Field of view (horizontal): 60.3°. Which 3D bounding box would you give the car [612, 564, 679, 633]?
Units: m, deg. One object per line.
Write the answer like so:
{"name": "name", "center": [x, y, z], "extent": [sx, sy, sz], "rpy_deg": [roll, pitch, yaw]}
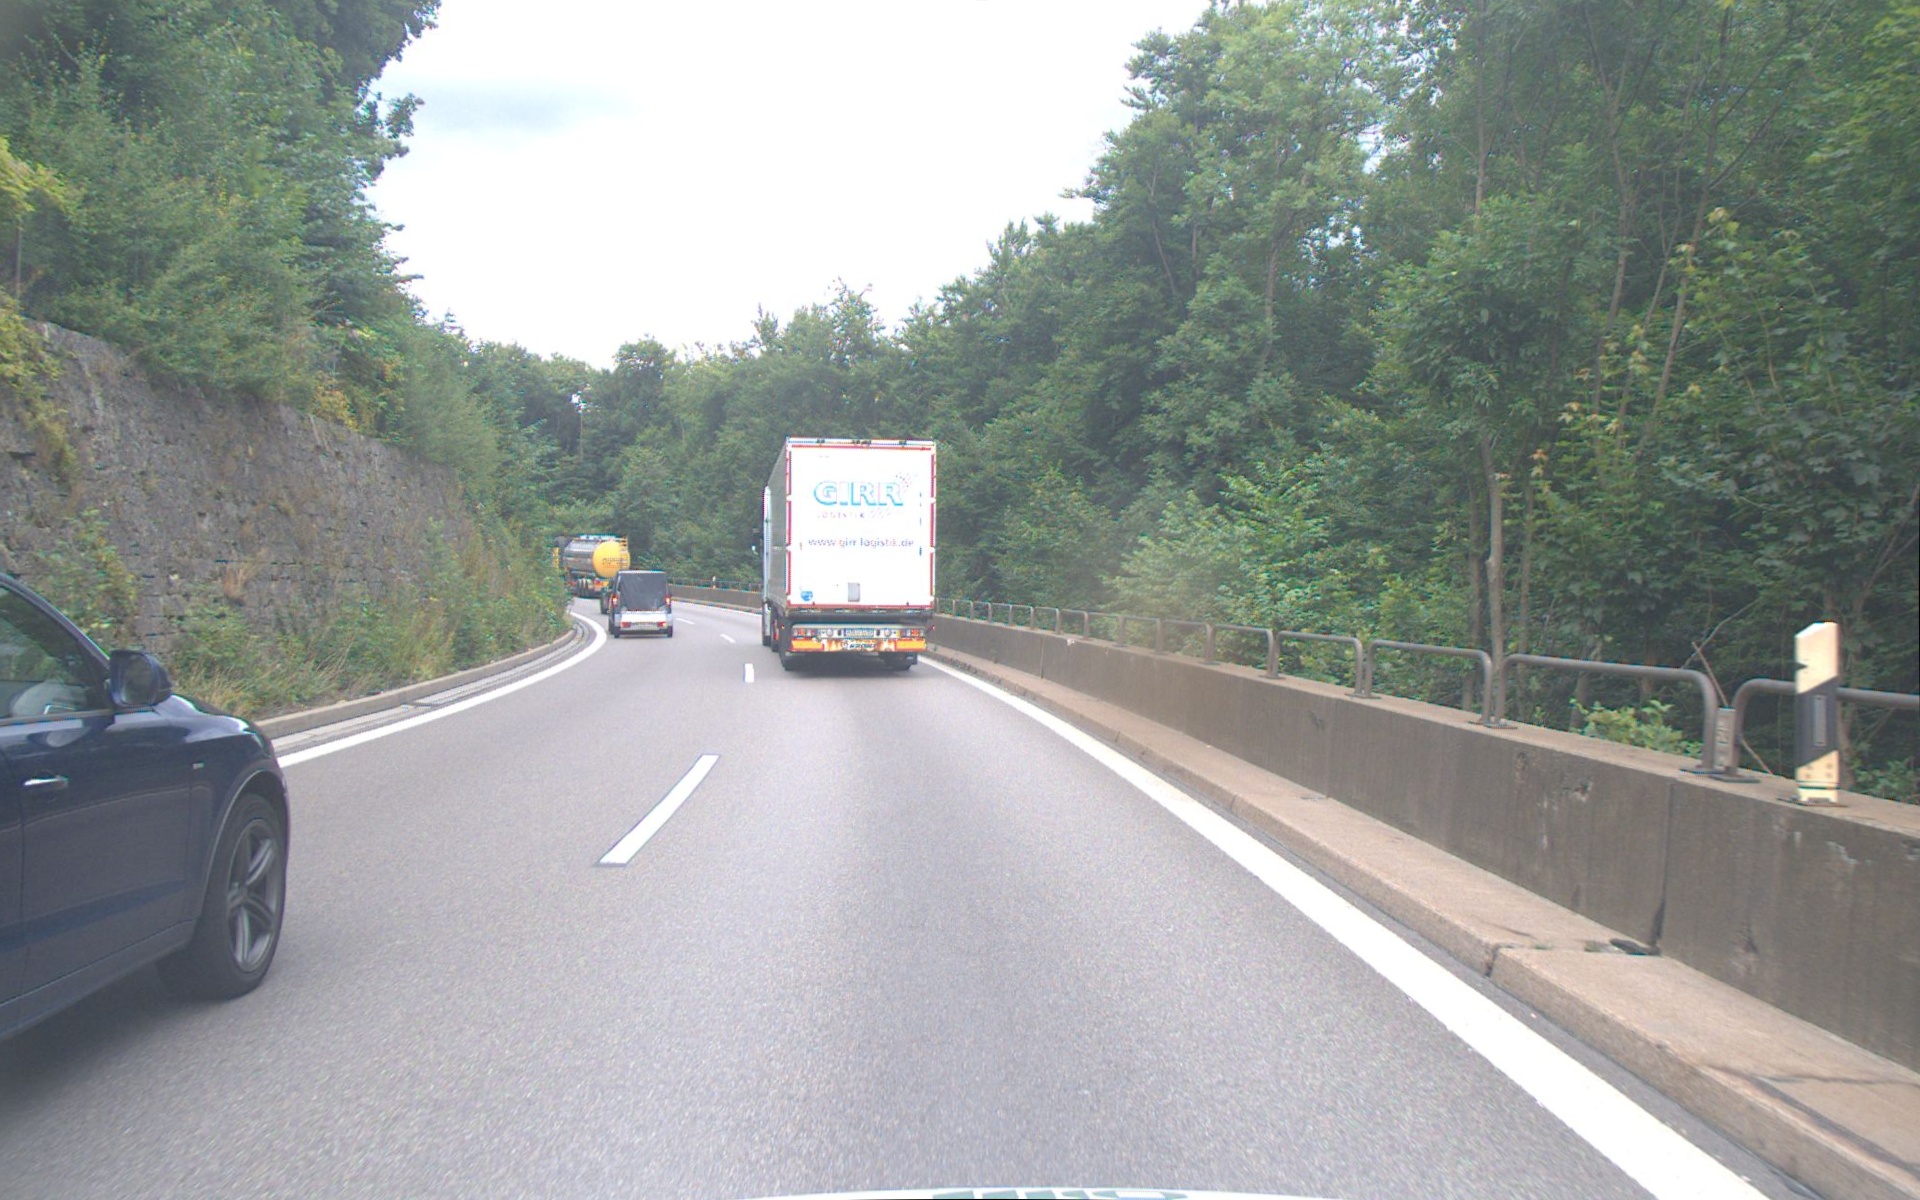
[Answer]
{"name": "car", "center": [-10.071, -0.029, 53.087], "extent": [1.957, 2.049, 5.526], "rpy_deg": [1, 0, -10]}

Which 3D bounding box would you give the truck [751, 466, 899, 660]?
{"name": "truck", "center": [-3.380, -0.927, 39.612], "extent": [3.000, 4.055, 7.176], "rpy_deg": [3, 2, -7]}

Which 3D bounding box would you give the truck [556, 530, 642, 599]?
{"name": "truck", "center": [-22.965, -2.124, 104.589], "extent": [3.015, 4.056, 13.604], "rpy_deg": [0, 0, -22]}

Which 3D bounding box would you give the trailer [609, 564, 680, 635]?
{"name": "trailer", "center": [-9.277, 0.002, 48.684], "extent": [1.935, 1.973, 3.421], "rpy_deg": [1, 0, -11]}

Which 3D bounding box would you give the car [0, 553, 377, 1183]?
{"name": "car", "center": [-3.393, 0.635, 4.159], "extent": [1.931, 1.621, 5.583], "rpy_deg": [3, -1, -2]}

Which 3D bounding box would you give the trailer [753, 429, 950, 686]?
{"name": "trailer", "center": [-2.521, -0.892, 33.207], "extent": [3.000, 4.055, 12.118], "rpy_deg": [3, 2, -7]}
